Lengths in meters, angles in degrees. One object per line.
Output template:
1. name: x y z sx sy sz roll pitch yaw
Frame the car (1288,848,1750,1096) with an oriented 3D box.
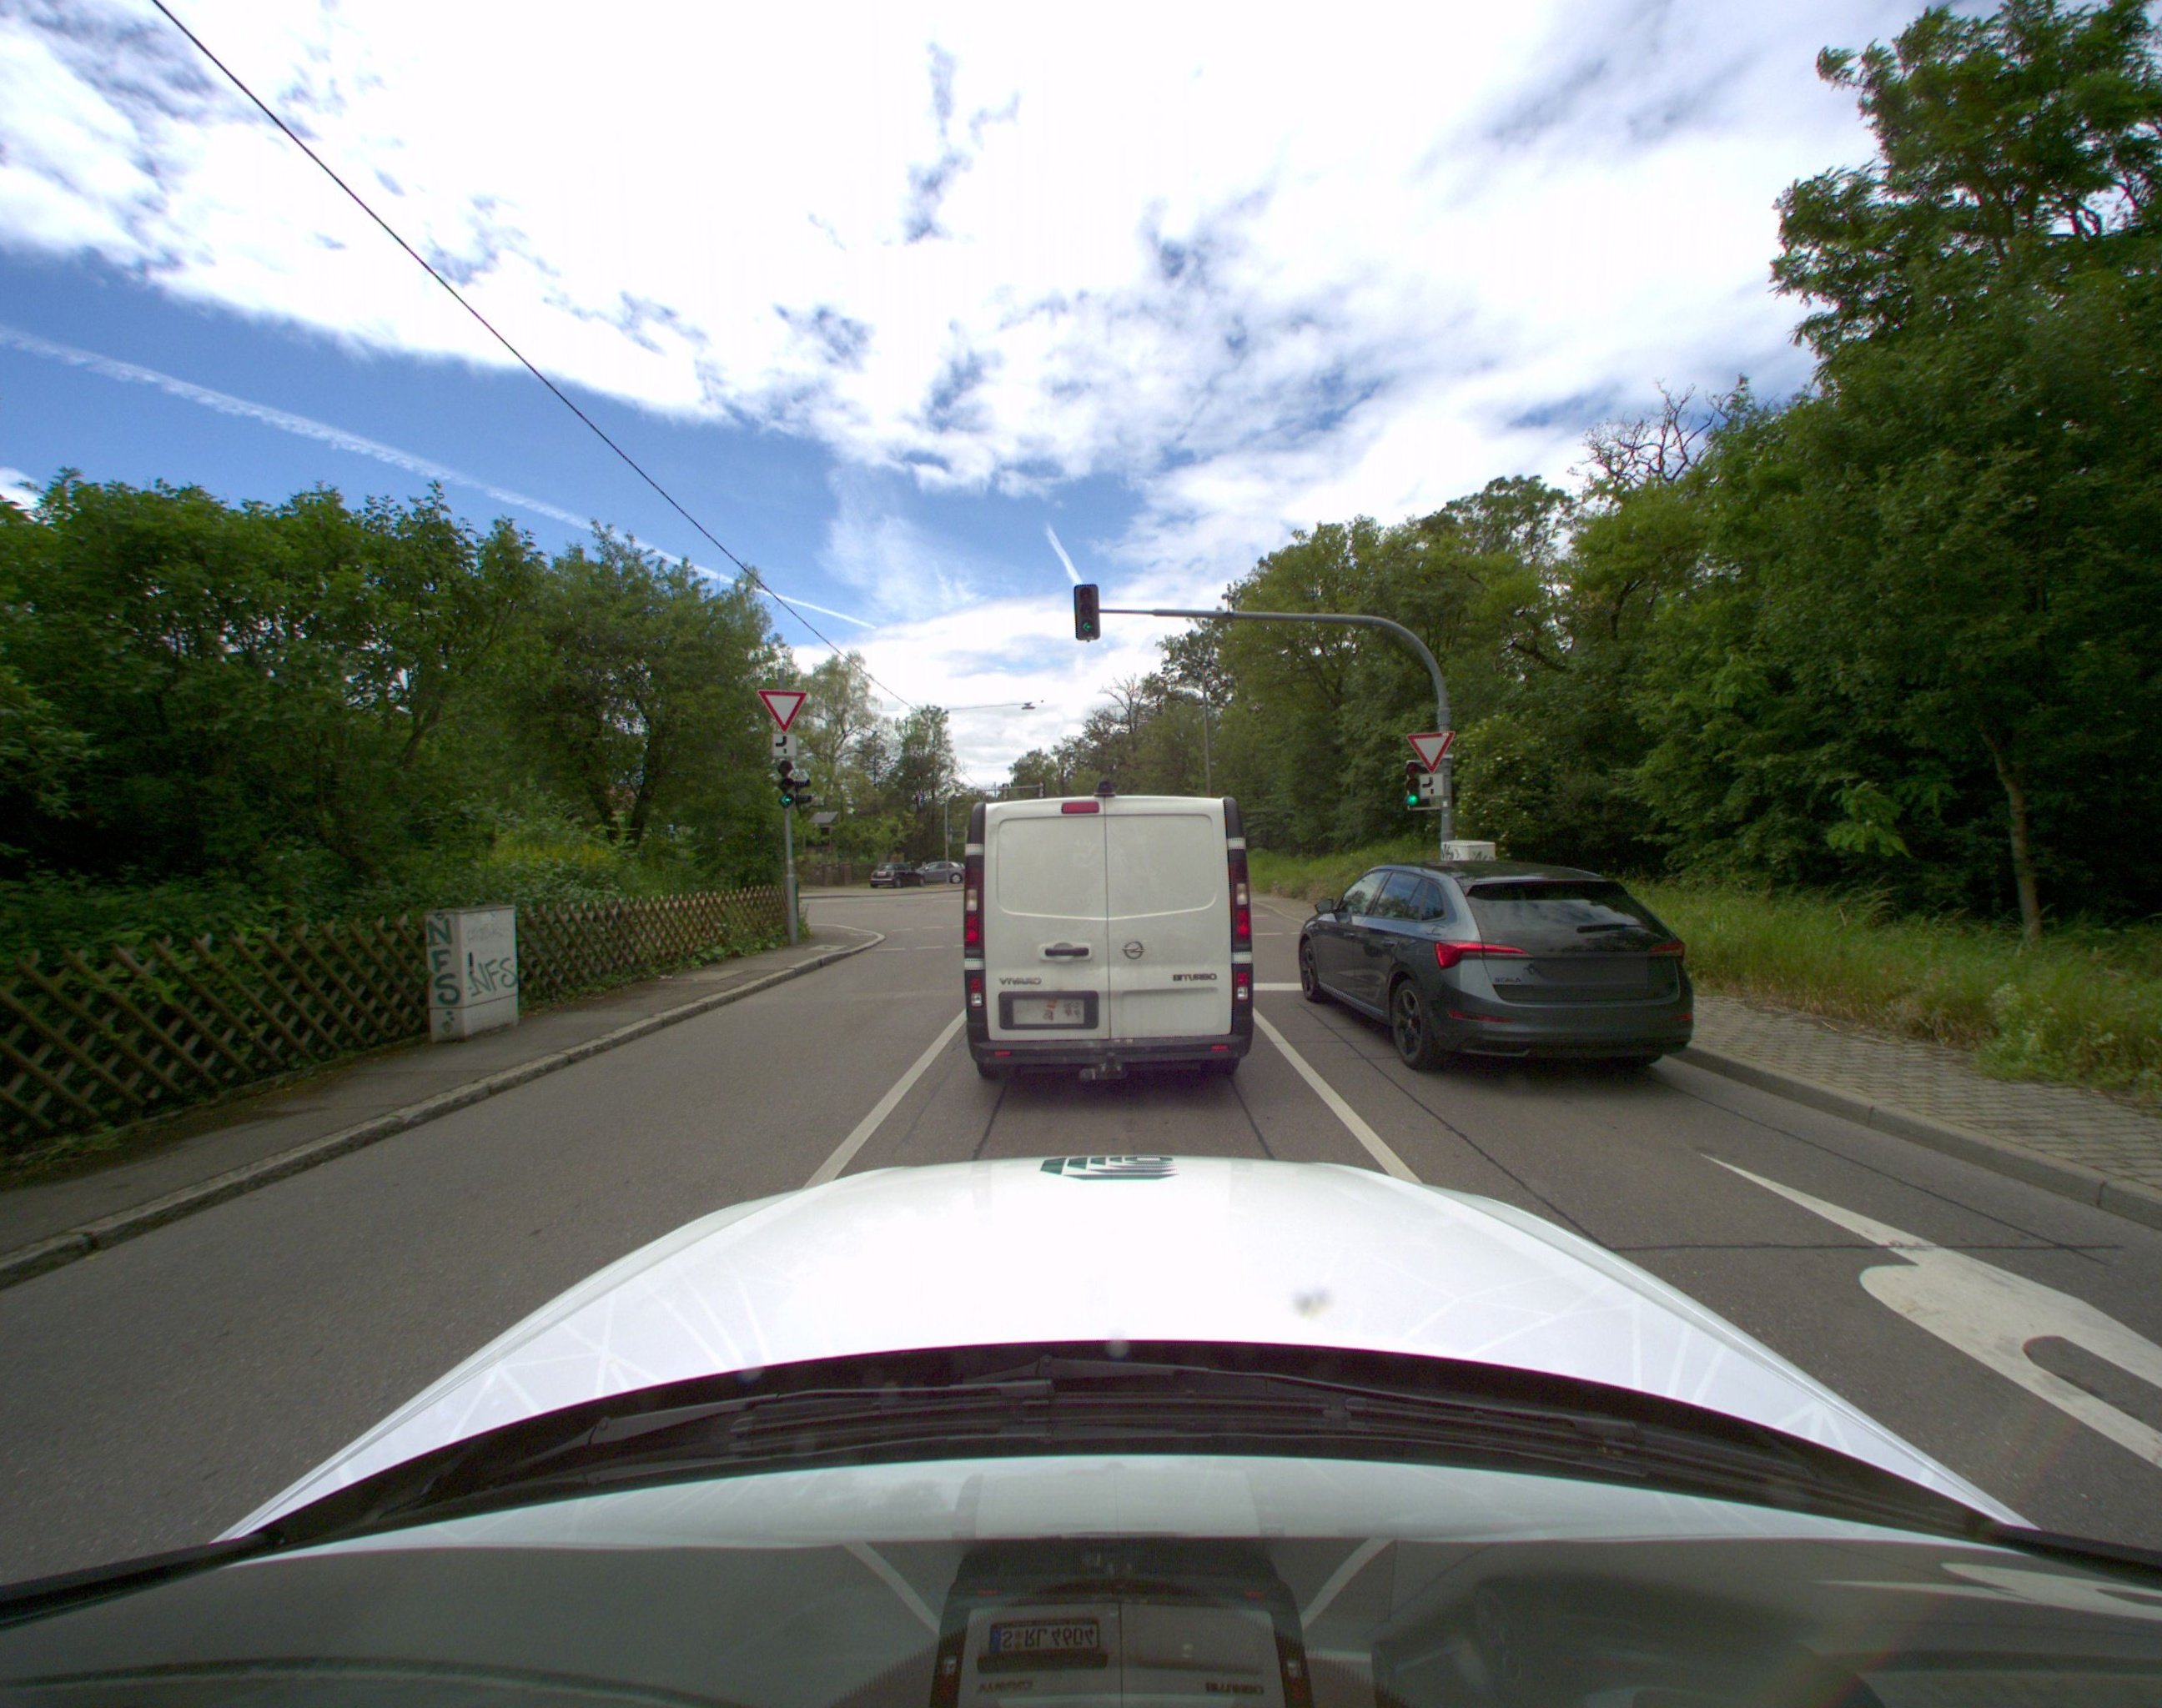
1. car: 3.158 0.710 6.922 1.786 1.450 4.000 -1 0 1

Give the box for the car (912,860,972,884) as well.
1. car: -10.080 1.272 58.878 4.094 1.553 1.845 -2 0 -16

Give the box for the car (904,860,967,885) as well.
1. car: -9.975 1.274 55.937 4.094 1.553 1.845 -2 0 -16

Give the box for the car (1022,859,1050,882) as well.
1. car: -3.179 1.174 57.976 1.852 1.507 3.996 -1 0 -2

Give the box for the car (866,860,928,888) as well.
1. car: -10.257 1.085 45.638 1.683 1.449 3.562 1 0 22

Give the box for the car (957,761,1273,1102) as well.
1. car: 0.200 0.464 7.235 1.910 2.053 4.613 0 0 0
